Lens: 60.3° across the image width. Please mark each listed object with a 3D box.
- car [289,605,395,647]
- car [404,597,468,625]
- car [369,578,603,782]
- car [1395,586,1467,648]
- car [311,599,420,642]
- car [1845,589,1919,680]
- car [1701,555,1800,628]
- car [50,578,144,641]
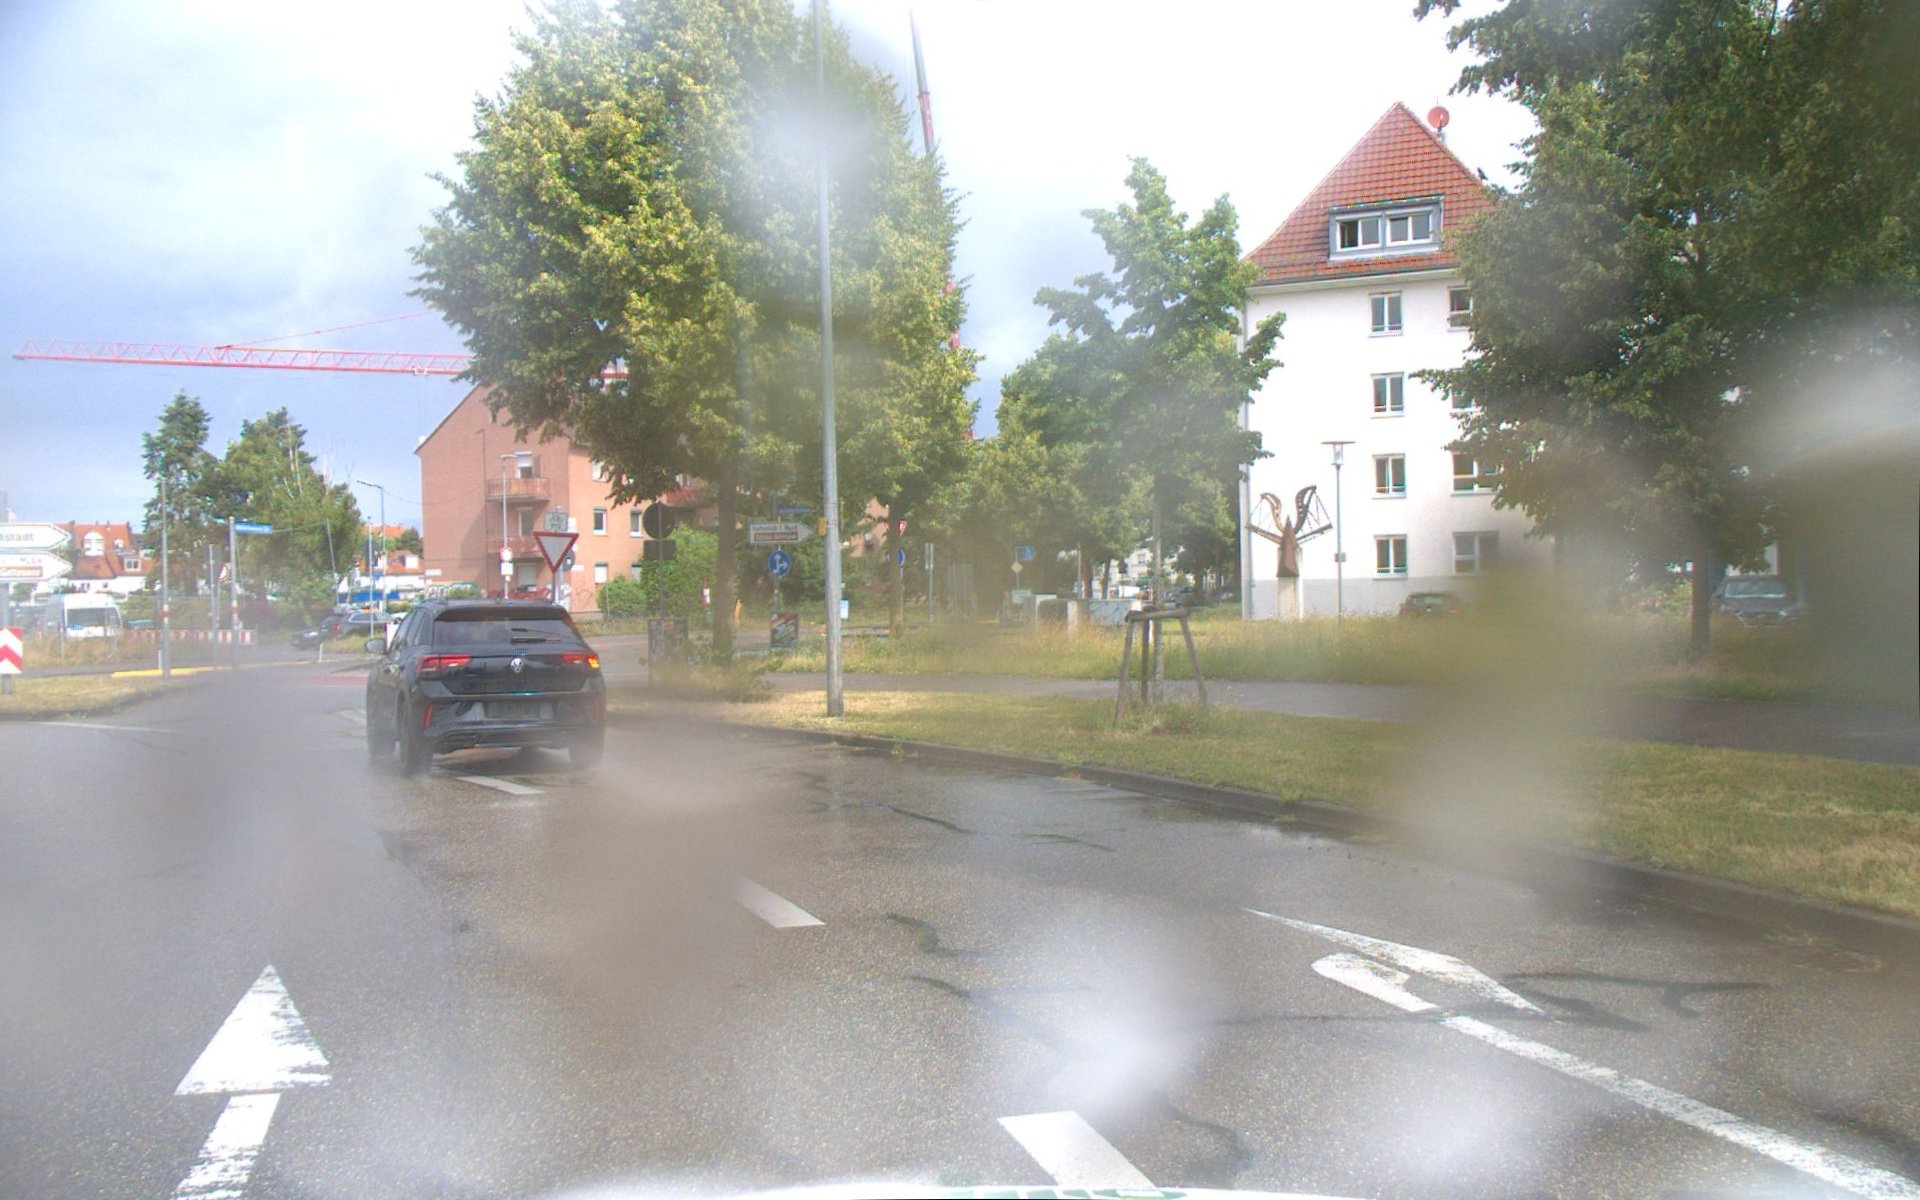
[{"bbox_3d":[-26.658,1.090,71.421,4.014,1.661,1.596,-2,0,-37],"label":"car"},{"bbox_3d":[-31.372,0.667,99.078,3.450,1.545,1.611,-1,0,-14],"label":"car"},{"bbox_3d":[-4.682,0.661,15.971,1.870,1.646,3.976,-2,1,-20],"label":"car"},{"bbox_3d":[12.582,0.432,44.061,1.635,1.508,3.741,-1,1,19],"label":"car"},{"bbox_3d":[-24.875,0.851,69.276,4.014,1.661,1.596,-2,0,-37],"label":"car"},{"bbox_3d":[17.055,0.577,29.930,1.571,1.536,3.619,-1,0,24],"label":"car"},{"bbox_3d":[19.579,-0.246,41.111,1.808,1.579,4.108,-1,3,20],"label":"car"},{"bbox_3d":[-32.697,0.300,62.571,2.023,2.121,6.178,-1,2,-39],"label":"car"}]
